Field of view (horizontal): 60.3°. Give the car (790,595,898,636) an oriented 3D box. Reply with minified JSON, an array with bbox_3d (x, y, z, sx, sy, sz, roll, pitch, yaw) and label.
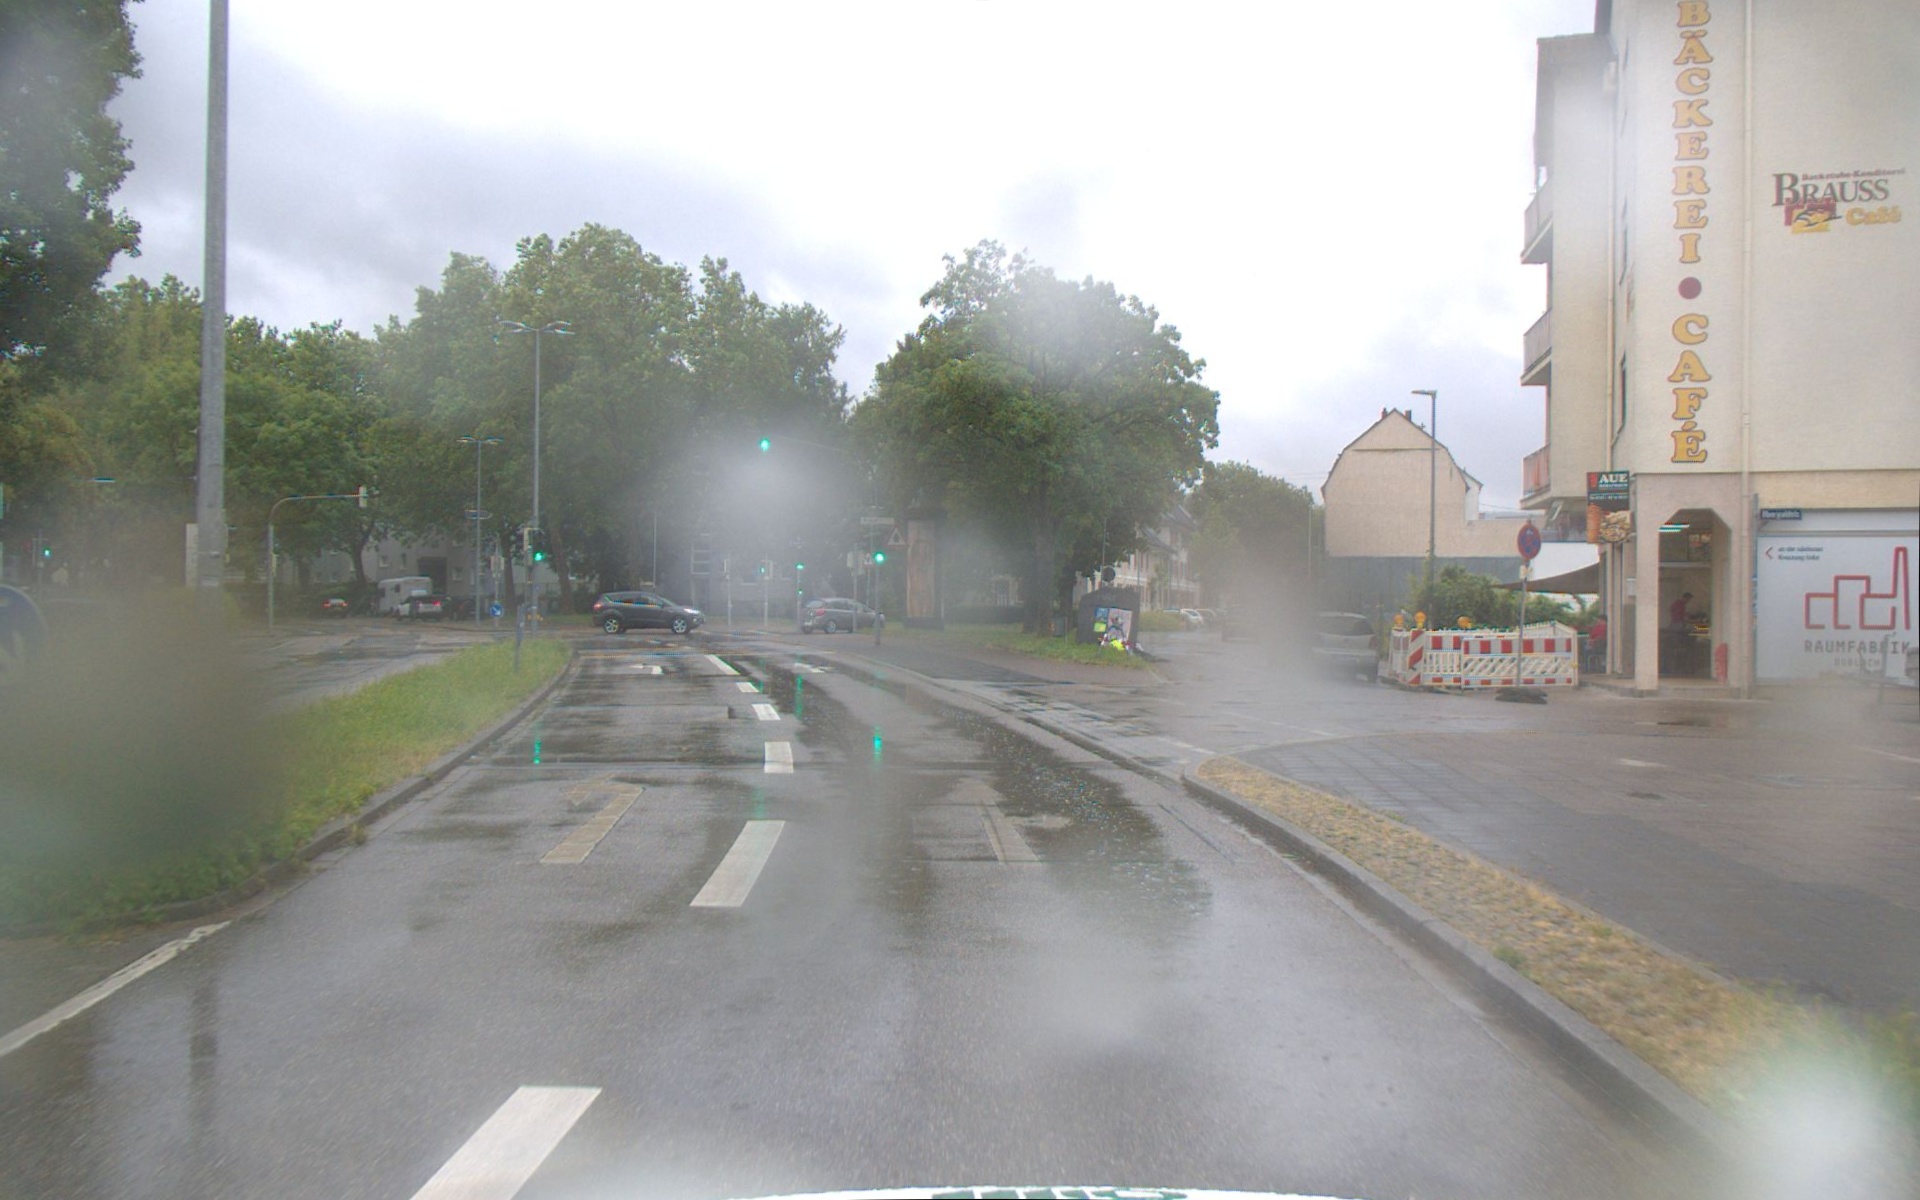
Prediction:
[{"bbox_3d":[-4.795,0.643,68.561,4.031,1.630,1.980,1,-1,-30],"label":"car"}]

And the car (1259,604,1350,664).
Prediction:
[{"bbox_3d":[8.958,0.868,43.259,1.662,1.458,4.158,1,-1,2],"label":"car"}]

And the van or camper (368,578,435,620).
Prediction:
[{"bbox_3d":[-39.646,-0.027,117.273,2.303,2.856,6.768,1,-1,-38],"label":"van or camper"}]

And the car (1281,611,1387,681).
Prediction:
[{"bbox_3d":[8.442,1.013,37.621,1.600,1.458,4.178,1,-1,2],"label":"car"}]

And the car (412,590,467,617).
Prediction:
[{"bbox_3d":[-34.609,0.236,109.924,1.905,1.649,4.386,2,-2,-41],"label":"car"}]

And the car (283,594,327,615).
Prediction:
[{"bbox_3d":[-52.342,0.345,132.182,1.905,1.648,4.304,2,-1,-41],"label":"car"}]

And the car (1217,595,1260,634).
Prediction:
[{"bbox_3d":[12.707,0.662,75.650,1.814,1.683,4.308,1,-1,9],"label":"car"}]

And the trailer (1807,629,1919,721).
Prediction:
[{"bbox_3d":[14.613,1.089,23.497,4.427,1.253,1.824,1,-1,22],"label":"trailer"}]

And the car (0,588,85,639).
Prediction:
[{"bbox_3d":[-32.044,0.443,57.428,3.955,1.715,1.771,0,0,43],"label":"car"}]

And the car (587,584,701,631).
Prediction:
[{"bbox_3d":[-12.607,0.301,66.165,4.204,1.774,1.999,1,-1,-2],"label":"car"}]

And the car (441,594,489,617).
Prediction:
[{"bbox_3d":[-31.854,0.359,106.401,1.538,1.414,4.093,2,-1,-38],"label":"car"}]

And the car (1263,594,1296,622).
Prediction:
[{"bbox_3d":[26.579,0.689,137.431,2.300,2.247,4.615,1,-1,15],"label":"car"}]

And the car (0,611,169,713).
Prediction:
[{"bbox_3d":[-13.736,0.919,25.866,1.518,1.422,4.180,2,-1,-13],"label":"car"}]

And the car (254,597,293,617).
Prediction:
[{"bbox_3d":[-53.105,0.540,127.926,1.696,1.436,3.591,-2,2,-40],"label":"car"}]

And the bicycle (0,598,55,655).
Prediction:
[{"bbox_3d":[-20.364,0.577,36.137,0.686,1.207,1.616,1,-1,-17],"label":"bicycle"}]

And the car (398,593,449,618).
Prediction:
[{"bbox_3d":[-32.583,0.327,100.372,1.696,1.436,3.591,-2,2,-40],"label":"car"}]

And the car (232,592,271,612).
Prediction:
[{"bbox_3d":[-61.128,0.158,142.666,1.905,1.648,4.304,2,-1,-41],"label":"car"}]

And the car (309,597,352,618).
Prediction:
[{"bbox_3d":[-44.269,0.517,116.288,1.696,1.436,3.591,-2,2,-40],"label":"car"}]
